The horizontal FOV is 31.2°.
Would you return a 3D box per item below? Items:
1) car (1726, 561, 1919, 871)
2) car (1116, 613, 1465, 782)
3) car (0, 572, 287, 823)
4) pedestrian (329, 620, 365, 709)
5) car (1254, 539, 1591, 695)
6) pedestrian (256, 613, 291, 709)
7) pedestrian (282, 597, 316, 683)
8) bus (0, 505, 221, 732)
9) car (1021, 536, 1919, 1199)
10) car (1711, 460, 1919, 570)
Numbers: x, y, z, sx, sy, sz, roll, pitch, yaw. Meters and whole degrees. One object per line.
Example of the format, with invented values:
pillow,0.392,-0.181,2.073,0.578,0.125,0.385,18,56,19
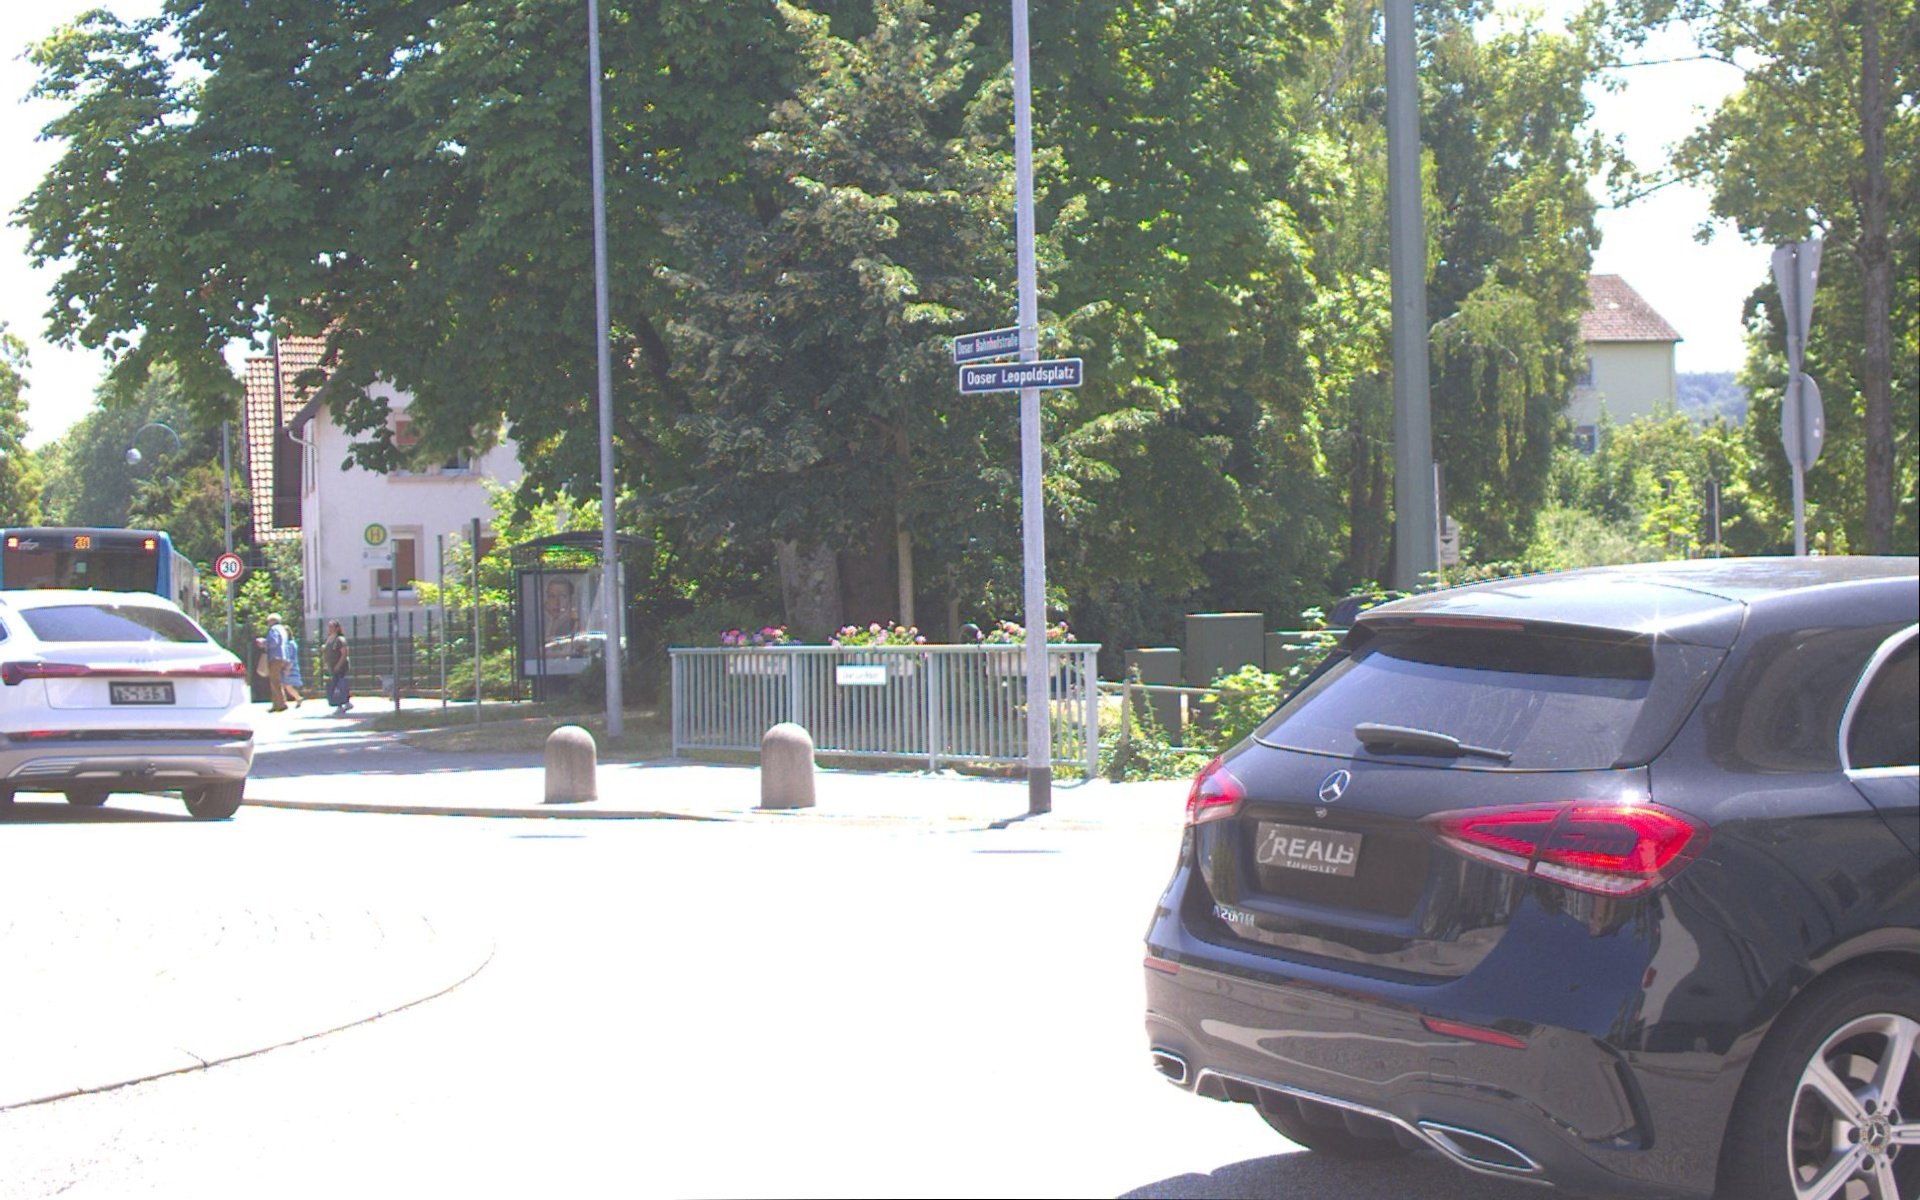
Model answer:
car,6.380,0.527,18.127,4.193,1.511,1.746,-1,0,-12
car,3.308,0.948,34.450,3.049,1.547,1.634,-2,0,-26
car,-6.657,0.671,25.041,1.898,1.656,4.409,0,-1,-34
pedestrian,-10.176,1.069,57.051,0.489,1.449,0.531,-1,0,-18
car,6.205,0.233,46.267,3.995,2.007,1.996,-1,0,37
pedestrian,-11.923,1.052,59.729,0.502,1.644,0.580,-1,0,-18
pedestrian,-11.773,0.713,61.221,0.488,1.517,0.543,-1,0,-18
bus,-14.300,0.380,57.099,3.705,3.161,18.073,1,-1,-11
car,2.499,0.577,7.958,4.423,1.452,1.769,-1,1,-30
car,16.824,-1.649,67.489,3.989,2.007,1.999,-1,0,14
